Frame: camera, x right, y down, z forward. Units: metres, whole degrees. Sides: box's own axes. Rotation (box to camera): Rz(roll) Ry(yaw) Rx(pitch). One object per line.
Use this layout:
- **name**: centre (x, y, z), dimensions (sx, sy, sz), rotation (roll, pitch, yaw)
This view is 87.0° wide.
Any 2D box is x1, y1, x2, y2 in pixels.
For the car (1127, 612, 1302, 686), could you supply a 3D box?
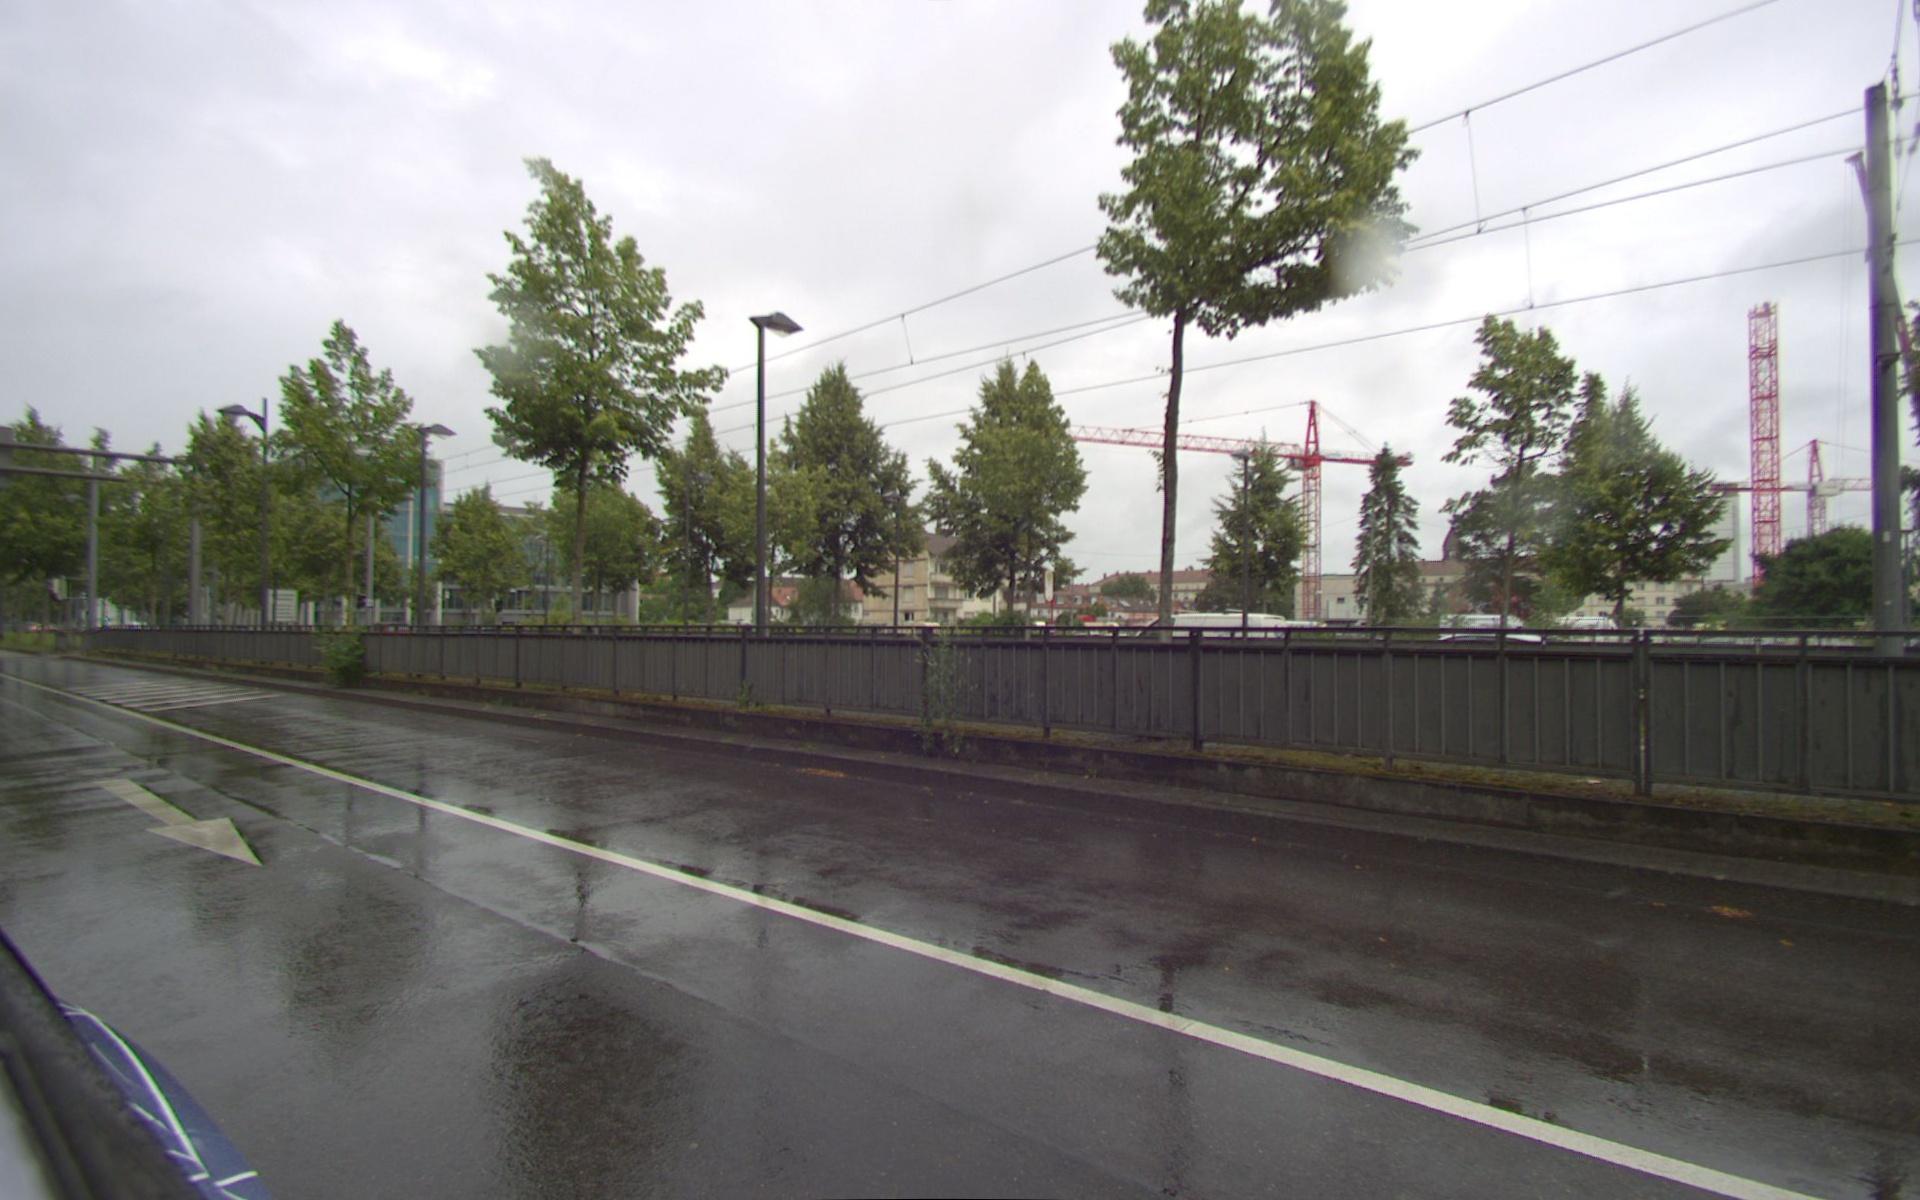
- **car**: centre (6.640, 1.220, 26.606), dimensions (3.996, 1.759, 1.974), rotation (-1, 0, 40)

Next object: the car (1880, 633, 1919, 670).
- **car**: centre (52.586, 2.775, 54.365), dimensions (4.417, 1.891, 1.854), rotation (-1, 0, 36)

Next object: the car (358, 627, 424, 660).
- **car**: centre (-32.419, 2.439, 57.674), dimensions (3.996, 1.759, 1.974), rotation (-1, 0, 40)

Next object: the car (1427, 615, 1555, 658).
- **car**: centre (32.596, 2.172, 62.253), dimensions (6.738, 2.480, 1.975), rotation (-1, 0, 38)

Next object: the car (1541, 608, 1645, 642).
- **car**: centre (40.239, 1.570, 64.428), dimensions (5.414, 2.067, 1.975), rotation (-1, 0, 38)

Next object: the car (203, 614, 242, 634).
- **car**: centre (-66.967, 2.153, 91.880), dimensions (3.996, 1.759, 1.974), rotation (-1, 0, 40)

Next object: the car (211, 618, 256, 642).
- **car**: centre (-57.756, 2.365, 80.404), dimensions (3.996, 1.759, 1.974), rotation (-1, 0, 40)
